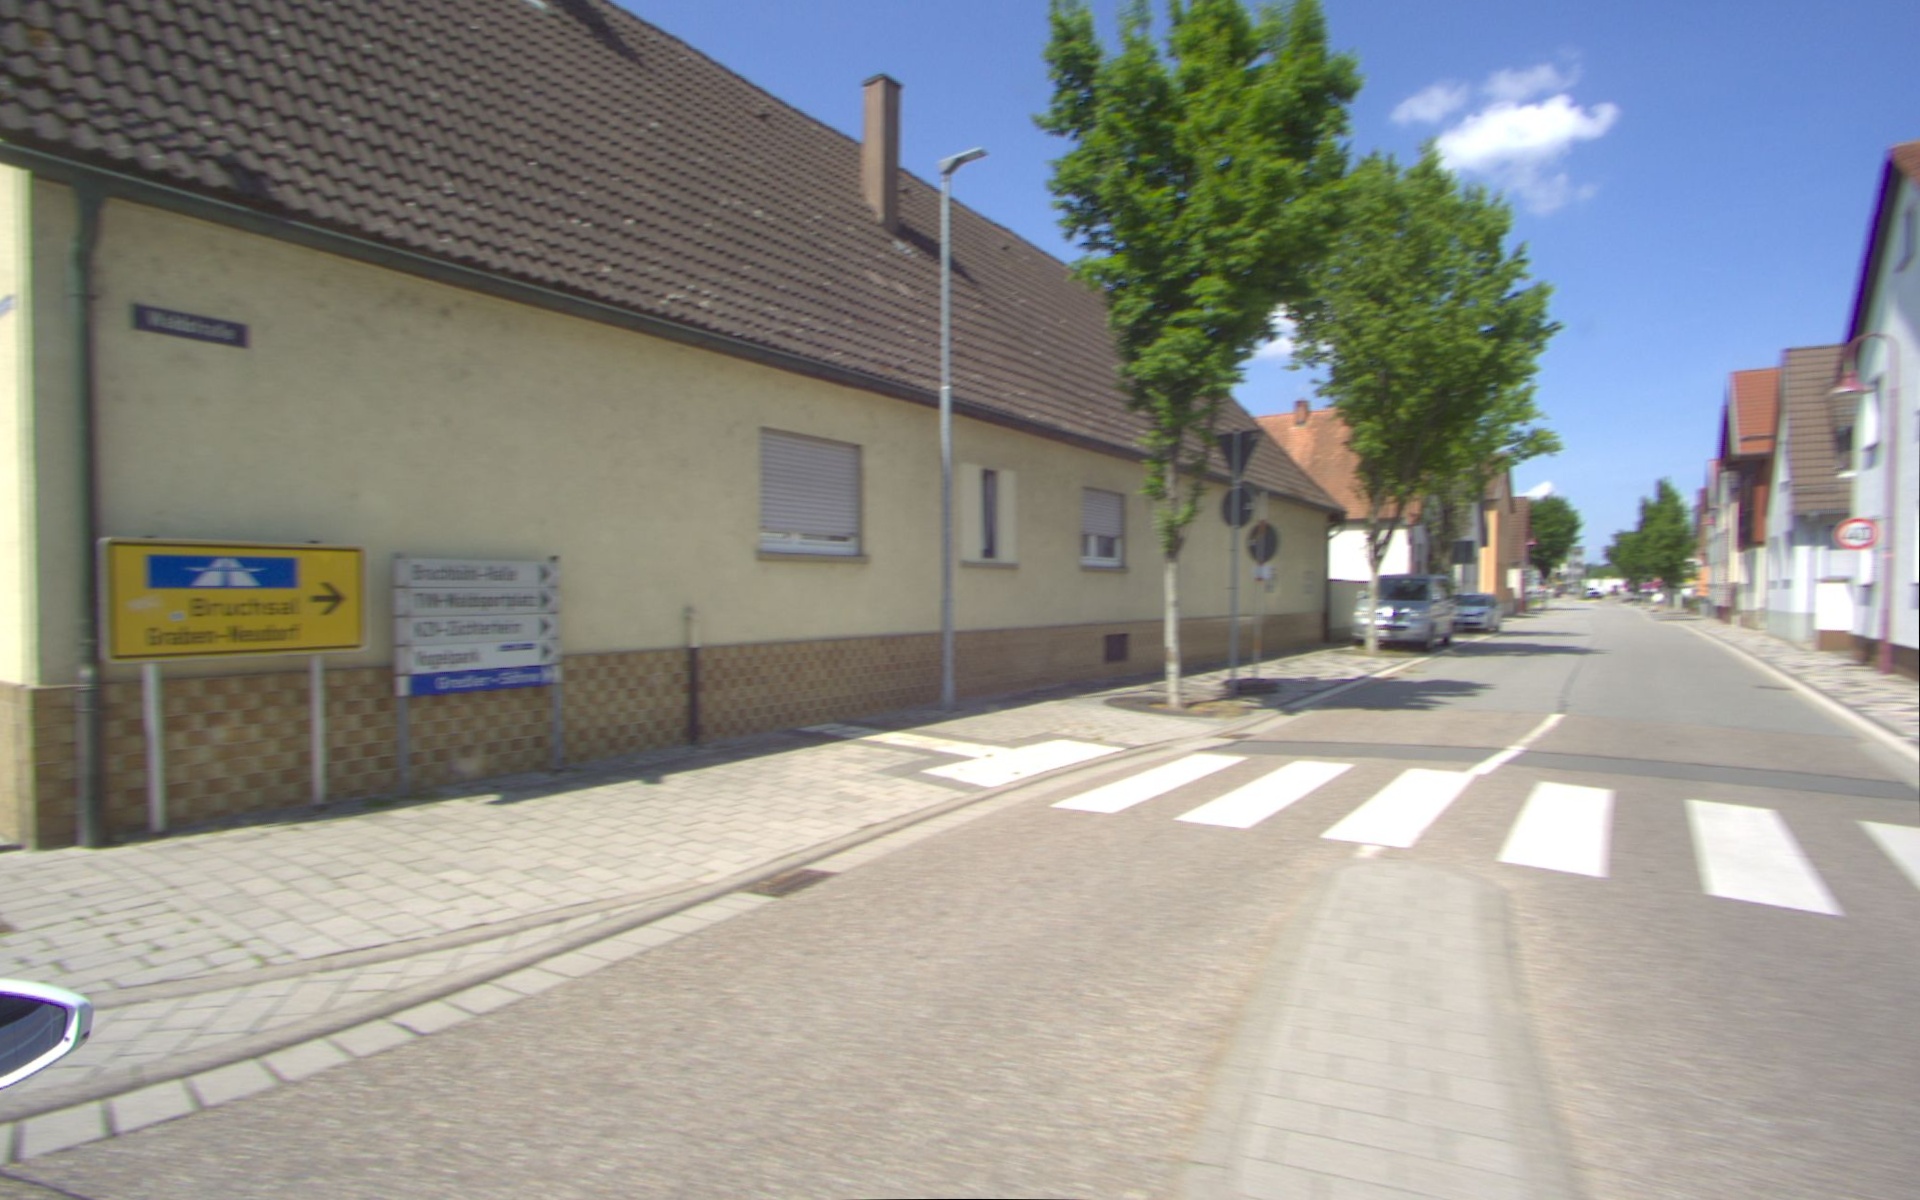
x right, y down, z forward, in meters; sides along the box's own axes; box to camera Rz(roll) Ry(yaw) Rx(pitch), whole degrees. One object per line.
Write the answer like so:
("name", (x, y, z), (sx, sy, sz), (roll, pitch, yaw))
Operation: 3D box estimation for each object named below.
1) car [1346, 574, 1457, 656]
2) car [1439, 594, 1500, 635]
("car", (11.802, 0.332, 26.621), (1.971, 1.965, 4.453), (2, 2, 33))
("car", (19.098, 0.497, 37.480), (1.662, 1.400, 3.540), (2, 2, 33))
